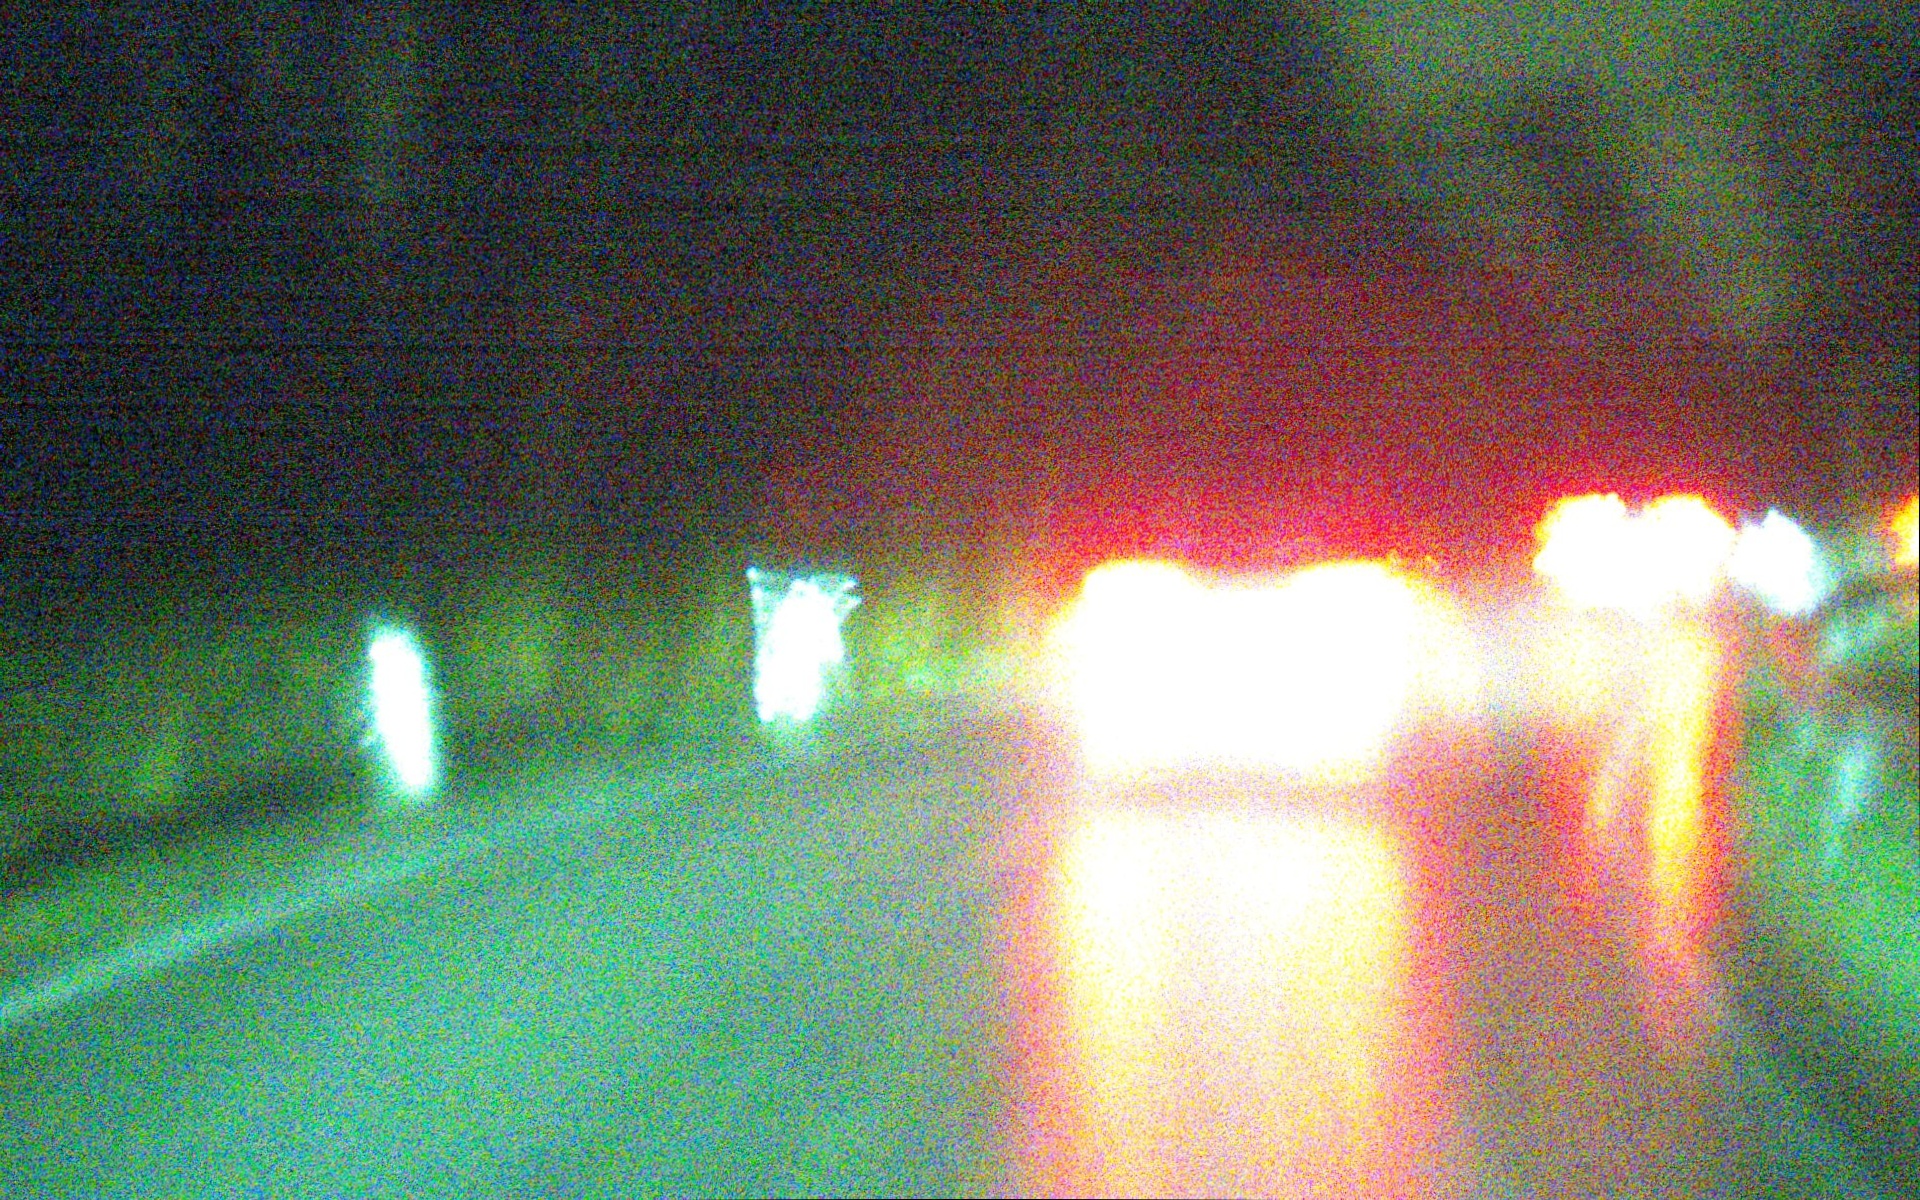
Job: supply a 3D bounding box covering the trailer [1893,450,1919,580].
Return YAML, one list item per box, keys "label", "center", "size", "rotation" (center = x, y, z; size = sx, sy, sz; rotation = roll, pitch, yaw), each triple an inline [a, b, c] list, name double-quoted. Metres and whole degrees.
- label: "trailer"
  center: [17.625, -1.386, 58.556]
  size: [2.080, 2.007, 10.635]
  rotation: [-3, -1, 21]
